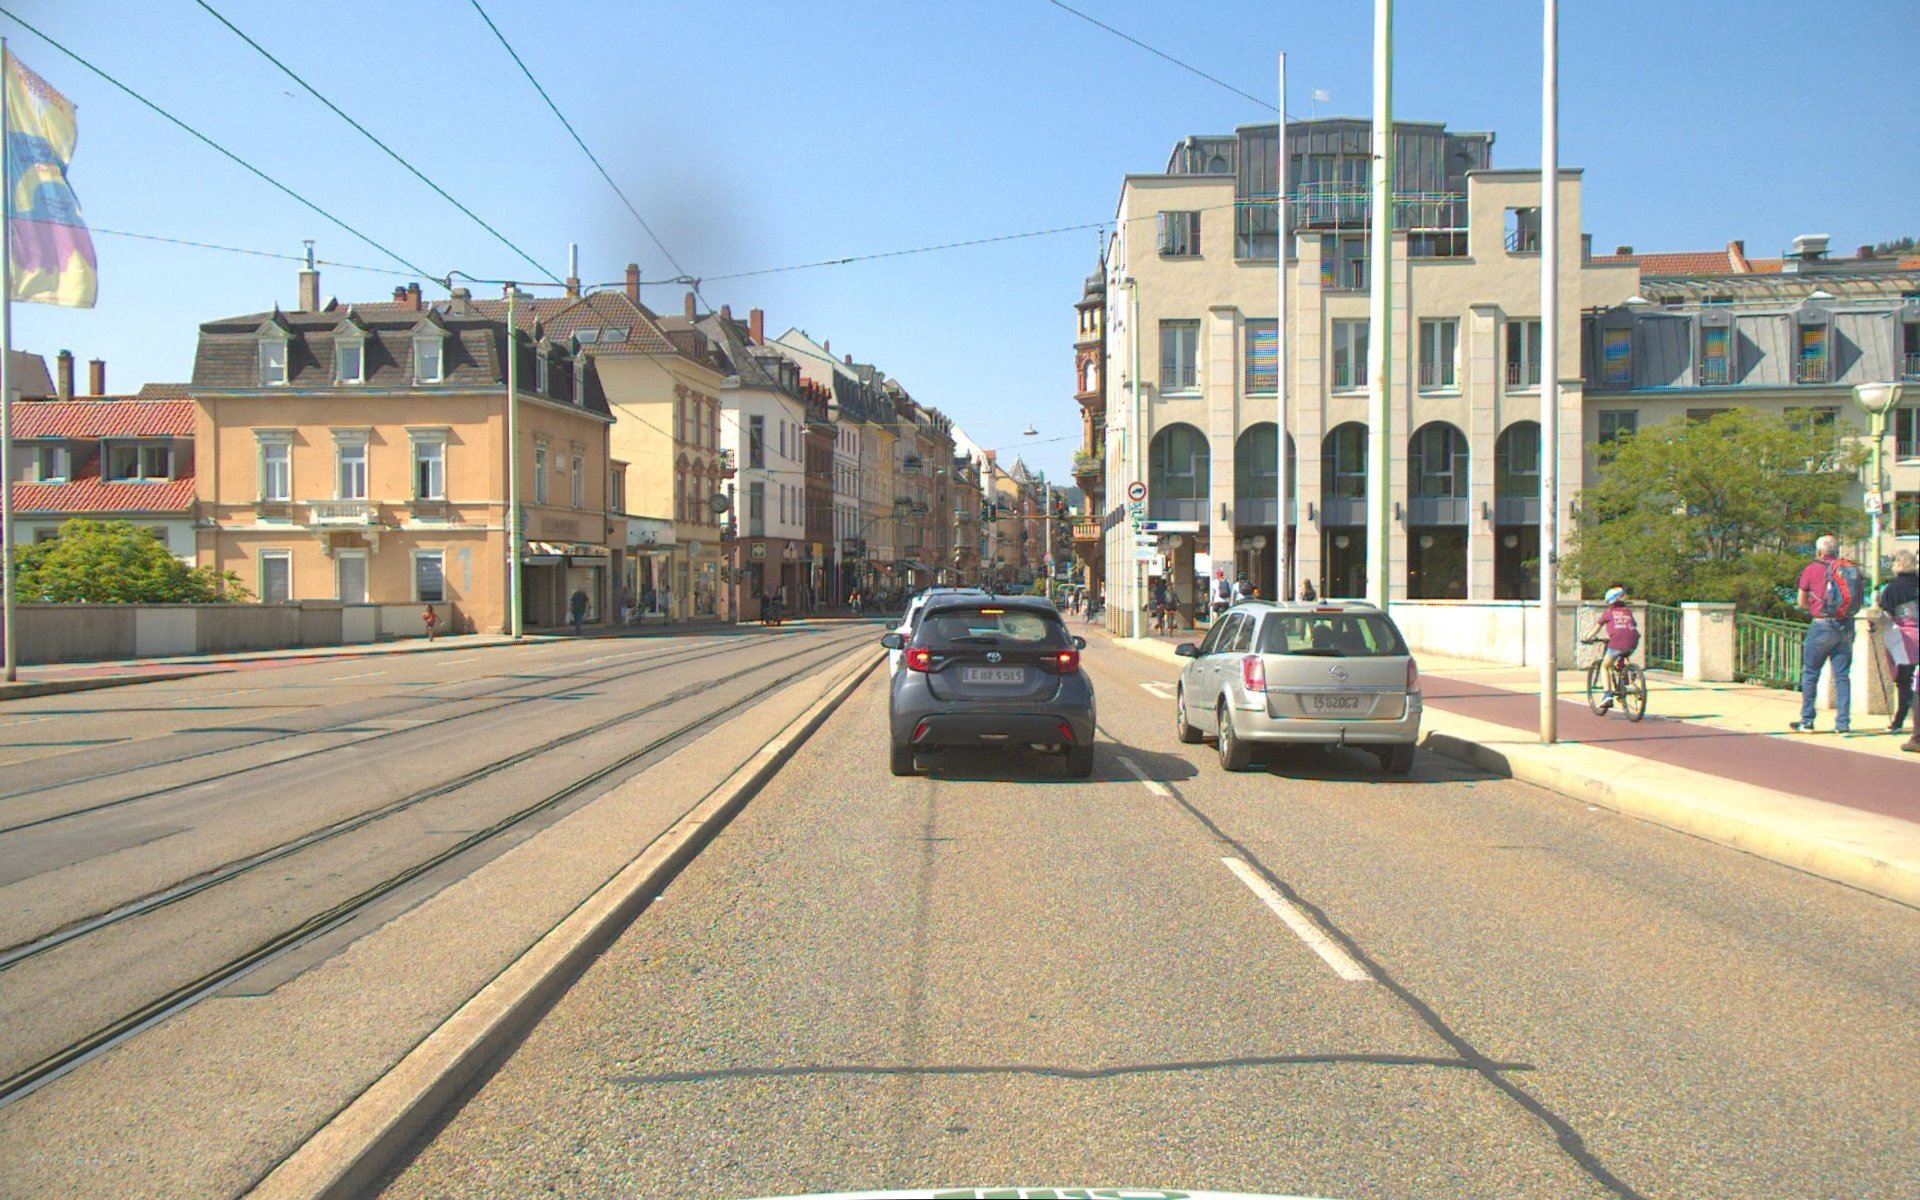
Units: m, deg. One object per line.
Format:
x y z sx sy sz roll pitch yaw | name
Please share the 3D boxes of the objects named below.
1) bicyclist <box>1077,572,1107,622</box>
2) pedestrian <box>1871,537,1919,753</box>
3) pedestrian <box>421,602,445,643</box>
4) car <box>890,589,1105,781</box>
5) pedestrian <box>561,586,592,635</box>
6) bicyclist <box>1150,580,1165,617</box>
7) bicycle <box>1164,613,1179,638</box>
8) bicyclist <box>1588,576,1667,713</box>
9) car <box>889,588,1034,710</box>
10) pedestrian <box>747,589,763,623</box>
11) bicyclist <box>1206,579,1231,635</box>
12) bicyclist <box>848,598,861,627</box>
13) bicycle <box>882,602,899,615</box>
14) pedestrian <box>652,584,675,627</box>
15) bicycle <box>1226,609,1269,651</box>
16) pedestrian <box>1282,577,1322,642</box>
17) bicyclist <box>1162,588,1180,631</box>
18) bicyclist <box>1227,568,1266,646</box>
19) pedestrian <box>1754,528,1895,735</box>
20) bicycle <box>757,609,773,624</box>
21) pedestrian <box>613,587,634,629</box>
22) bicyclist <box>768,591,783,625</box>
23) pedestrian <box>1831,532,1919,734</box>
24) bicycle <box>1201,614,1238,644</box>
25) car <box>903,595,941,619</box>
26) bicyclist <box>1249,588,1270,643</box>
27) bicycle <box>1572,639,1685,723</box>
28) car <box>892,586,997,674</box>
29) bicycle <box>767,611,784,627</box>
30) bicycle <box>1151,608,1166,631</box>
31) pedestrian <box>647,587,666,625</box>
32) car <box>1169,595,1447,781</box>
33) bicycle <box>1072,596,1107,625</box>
7.041 -0.158 87.968 1.205 2.572 1.102 4 0 -10 | bicyclist
8.136 0.355 13.508 0.739 1.748 1.073 -2 0 -1 | pedestrian
-15.614 0.663 49.005 0.403 1.166 0.545 4 0 5 | pedestrian
0.276 0.673 15.001 1.685 1.499 3.657 1 0 -1 | car
-13.508 0.365 58.277 0.746 1.682 0.712 4 0 5 | pedestrian
6.815 -0.050 57.073 0.413 1.278 0.443 -2 0 2 | bicyclist
6.785 0.815 53.076 0.407 0.779 1.206 -2 0 6 | bicycle
7.055 0.458 17.505 0.523 1.407 0.669 -2 0 0 | bicyclist
-0.001 0.637 23.614 1.858 1.557 3.999 1 0 -1 | car
-10.710 0.311 86.300 0.721 1.797 0.787 0 1 0 | pedestrian
6.959 0.190 44.513 0.480 1.492 0.437 -2 0 -39 | bicyclist
-6.046 0.714 94.809 0.614 1.679 0.622 2 1 0 | bicyclist
-4.292 0.520 102.304 0.607 0.728 2.047 2 1 9 | bicycle
-12.777 0.224 71.351 0.721 1.797 0.787 4 0 0 | pedestrian
6.507 0.662 37.487 0.689 0.898 1.525 -1 0 0 | bicycle
9.005 0.255 43.588 0.724 1.642 1.015 4 0 -1 | pedestrian
6.751 0.301 53.049 0.527 1.339 0.672 -2 0 7 | bicyclist
6.493 0.156 37.532 0.687 1.725 0.924 -1 0 0 | bicyclist
8.022 0.282 15.390 0.724 1.833 1.015 -2 0 -1 | pedestrian
-10.141 0.843 86.172 0.607 0.728 1.771 1 1 0 | bicycle
-13.581 0.328 66.732 0.636 1.629 0.566 4 2 0 | pedestrian
-9.049 0.386 81.199 0.614 1.679 0.622 2 1 0 | bicyclist
8.778 0.287 15.409 0.724 1.808 1.015 -2 0 -1 | pedestrian
6.980 0.779 44.508 0.413 0.779 0.948 -2 0 -39 | bicycle
-2.420 0.444 106.569 1.694 1.486 4.377 0 0 9 | car
7.694 0.397 42.550 0.413 1.407 0.443 -2 0 -1 | bicyclist
7.063 0.839 17.554 0.503 0.779 1.660 -2 0 0 | bicycle
-0.309 0.530 31.730 1.858 1.557 3.999 1 0 -1 | car
-9.053 0.920 81.197 0.607 0.728 1.771 2 1 0 | bicycle
6.844 0.674 57.021 0.407 0.779 0.962 -2 0 3 | bicycle
-13.513 0.261 73.532 0.636 1.629 0.566 4 2 0 | pedestrian
3.135 0.715 15.746 1.671 1.491 4.325 1 0 -1 | car
6.902 0.552 88.122 1.092 1.444 3.000 4 0 -10 | bicycle
